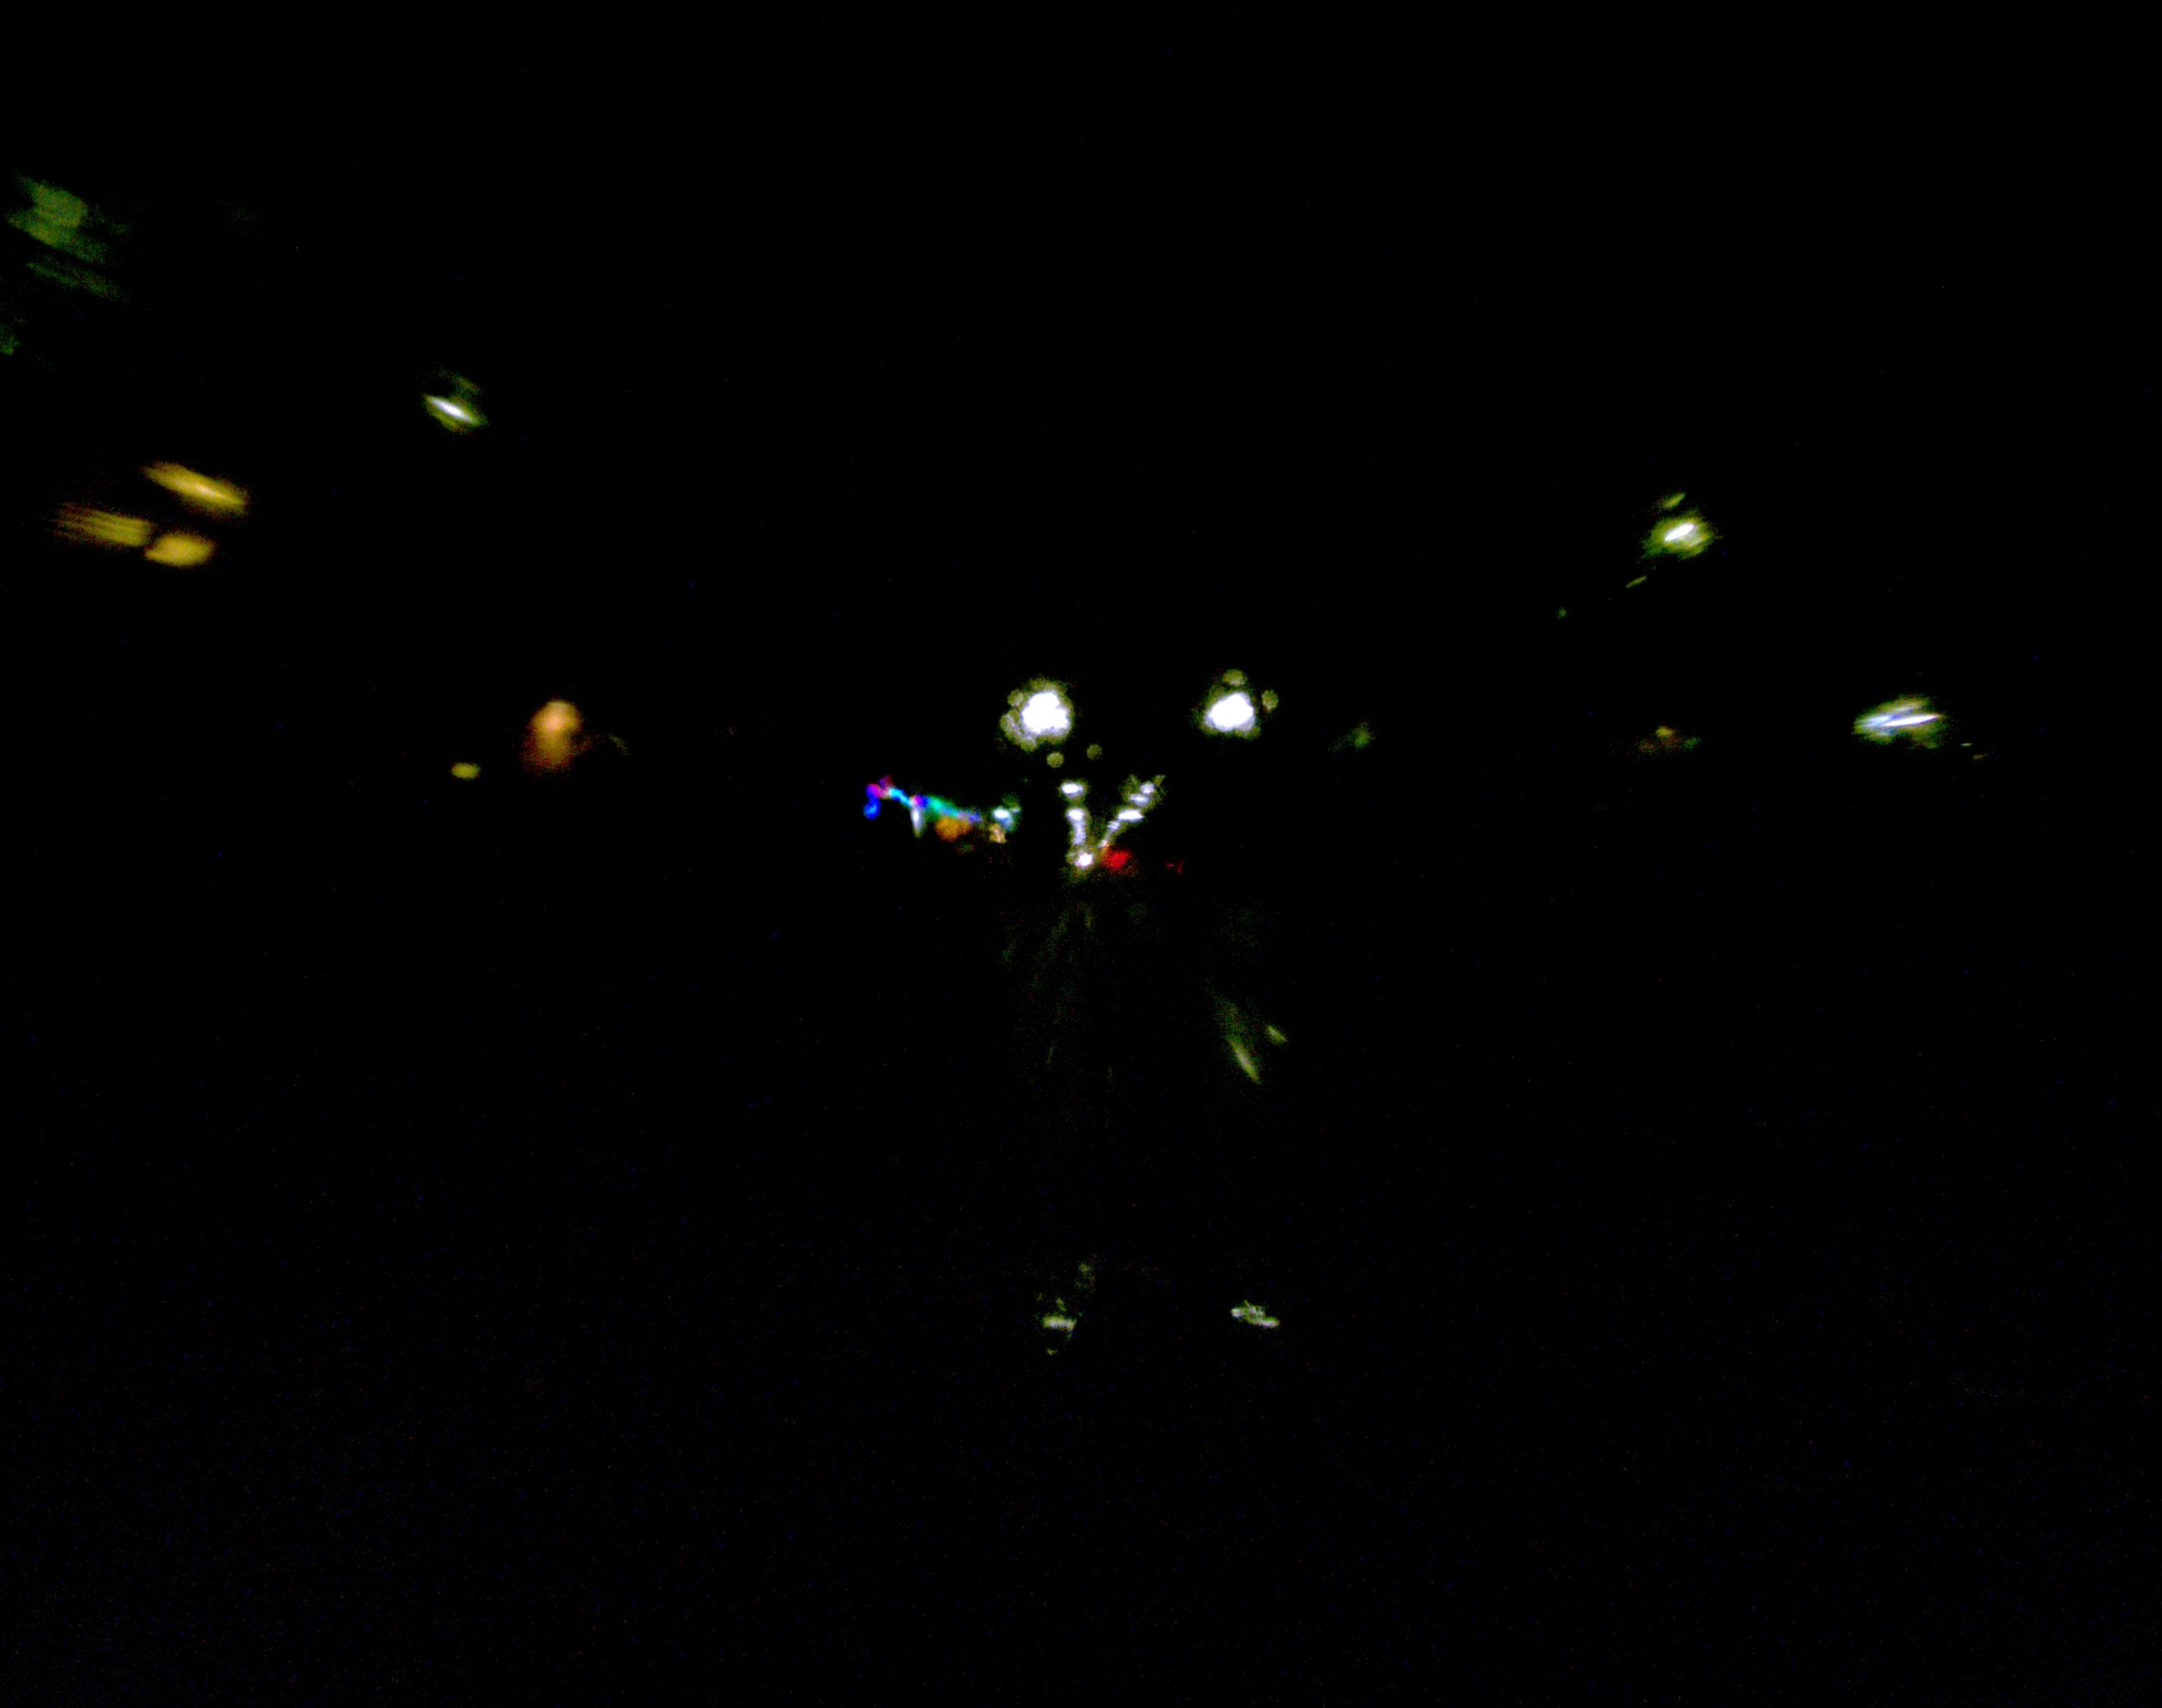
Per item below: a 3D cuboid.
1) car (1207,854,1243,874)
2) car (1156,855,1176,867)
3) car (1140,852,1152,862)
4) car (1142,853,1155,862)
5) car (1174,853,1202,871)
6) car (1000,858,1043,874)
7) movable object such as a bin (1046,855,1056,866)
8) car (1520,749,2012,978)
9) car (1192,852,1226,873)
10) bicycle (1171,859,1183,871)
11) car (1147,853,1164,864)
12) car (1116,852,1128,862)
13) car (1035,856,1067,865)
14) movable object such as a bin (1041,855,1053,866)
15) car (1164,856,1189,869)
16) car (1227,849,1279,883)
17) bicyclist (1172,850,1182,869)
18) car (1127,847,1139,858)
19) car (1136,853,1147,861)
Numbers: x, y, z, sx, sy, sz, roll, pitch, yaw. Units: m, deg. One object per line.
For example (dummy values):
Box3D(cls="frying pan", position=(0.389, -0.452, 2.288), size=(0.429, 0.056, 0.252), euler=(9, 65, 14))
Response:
Box3D(cls="car", position=(10.156, 0.695, 53.938), size=(1.695, 1.413, 3.913), euler=(-1, 0, -2))
Box3D(cls="car", position=(10.914, 0.913, 97.761), size=(1.845, 1.415, 4.208), euler=(-1, 0, -2))
Box3D(cls="car", position=(11.792, 0.519, 138.499), size=(1.814, 1.569, 4.353), euler=(-4, 0, 1))
Box3D(cls="car", position=(11.338, 0.619, 127.798), size=(1.735, 1.430, 4.626), euler=(-2, 1, 1))
Box3D(cls="car", position=(10.549, 0.807, 74.849), size=(1.885, 1.536, 4.398), euler=(-5, 1, -2))
Box3D(cls="car", position=(-6.309, 1.305, 80.863), size=(4.111, 1.528, 1.956), euler=(-2, 1, -24))
Box3D(cls="movable object such as a bin", position=(-3.956, 0.826, 99.626), size=(1.326, 1.400, 1.159), euler=(0, 1, -5))
Box3D(cls="car", position=(9.679, 0.134, 11.903), size=(2.190, 2.576, 6.393), euler=(-2, 0, 4))
Box3D(cls="car", position=(10.311, 0.656, 61.398), size=(1.988, 1.622, 4.517), euler=(-2, 1, 1))
Box3D(cls="bicycle", position=(8.577, 0.992, 67.949), size=(0.784, 1.076, 1.918), euler=(1, 1, 1))
Box3D(cls="car", position=(10.427, 0.642, 107.013), size=(1.778, 1.432, 4.606), euler=(-1, 0, -3))
Box3D(cls="car", position=(6.607, 0.457, 123.266), size=(1.780, 1.509, 4.051), euler=(-2, 0, 1))
Box3D(cls="car", position=(-4.665, 0.984, 118.089), size=(4.604, 1.467, 1.837), euler=(0, 0, -19))
Box3D(cls="movable object such as a bin", position=(-4.397, 0.805, 97.276), size=(1.371, 1.414, 1.073), euler=(0, 1, 6))
Box3D(cls="car", position=(10.919, 0.974, 87.314), size=(1.893, 1.454, 4.958), euler=(-1, 0, -4))
Box3D(cls="car", position=(9.623, 0.625, 42.850), size=(1.974, 1.646, 4.601), euler=(-4, 0, 2))
Box3D(cls="bicyclist", position=(8.584, 0.502, 67.937), size=(0.784, 1.646, 1.206), euler=(1, 1, 1))
Box3D(cls="car", position=(12.277, -0.379, 180.803), size=(2.248, 2.494, 5.259), euler=(-4, 1, -2))
Box3D(cls="car", position=(11.755, 0.599, 147.353), size=(1.723, 1.447, 3.950), euler=(-2, 1, 0))
